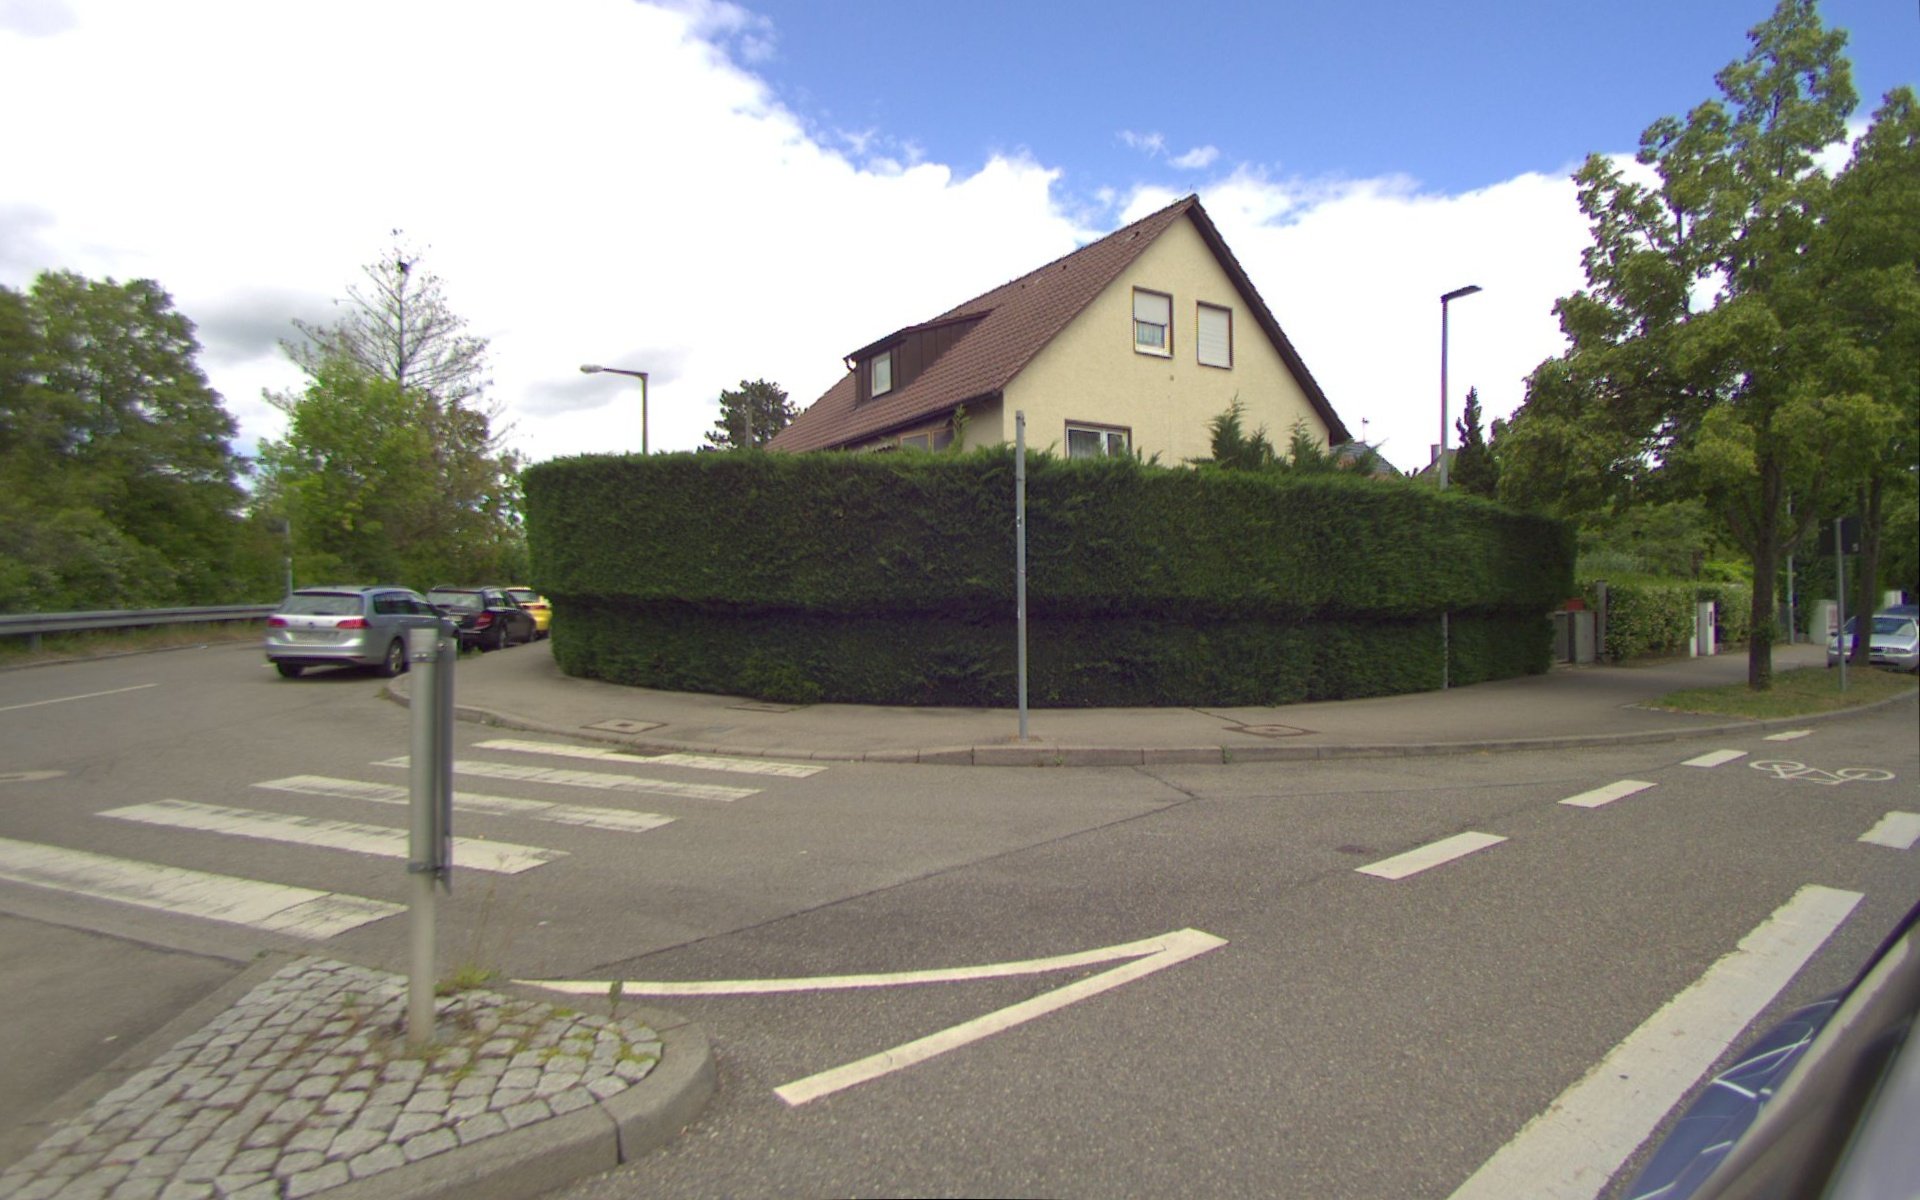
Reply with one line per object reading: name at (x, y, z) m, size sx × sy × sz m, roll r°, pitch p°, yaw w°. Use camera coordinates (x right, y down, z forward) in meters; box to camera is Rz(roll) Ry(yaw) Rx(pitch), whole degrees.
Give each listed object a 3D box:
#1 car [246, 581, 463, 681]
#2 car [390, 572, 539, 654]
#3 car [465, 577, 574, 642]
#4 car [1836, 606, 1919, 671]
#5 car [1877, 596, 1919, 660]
car at (-10.060, 0.435, 17.179) m, size 1.679 × 1.462 × 3.928 m, roll 1°, pitch 1°, yaw -7°
car at (-11.120, 0.235, 23.034) m, size 1.959 × 1.660 × 4.146 m, roll -1°, pitch 1°, yaw -10°
car at (-12.119, 0.207, 28.120) m, size 1.833 × 1.634 × 4.146 m, roll -1°, pitch 1°, yaw -10°
car at (21.698, 0.853, 23.462) m, size 3.477 × 1.368 × 1.561 m, roll 0°, pitch 1°, yaw -40°
car at (26.326, 0.718, 27.238) m, size 4.465 × 1.657 × 1.769 m, roll 0°, pitch 0°, yaw -39°
